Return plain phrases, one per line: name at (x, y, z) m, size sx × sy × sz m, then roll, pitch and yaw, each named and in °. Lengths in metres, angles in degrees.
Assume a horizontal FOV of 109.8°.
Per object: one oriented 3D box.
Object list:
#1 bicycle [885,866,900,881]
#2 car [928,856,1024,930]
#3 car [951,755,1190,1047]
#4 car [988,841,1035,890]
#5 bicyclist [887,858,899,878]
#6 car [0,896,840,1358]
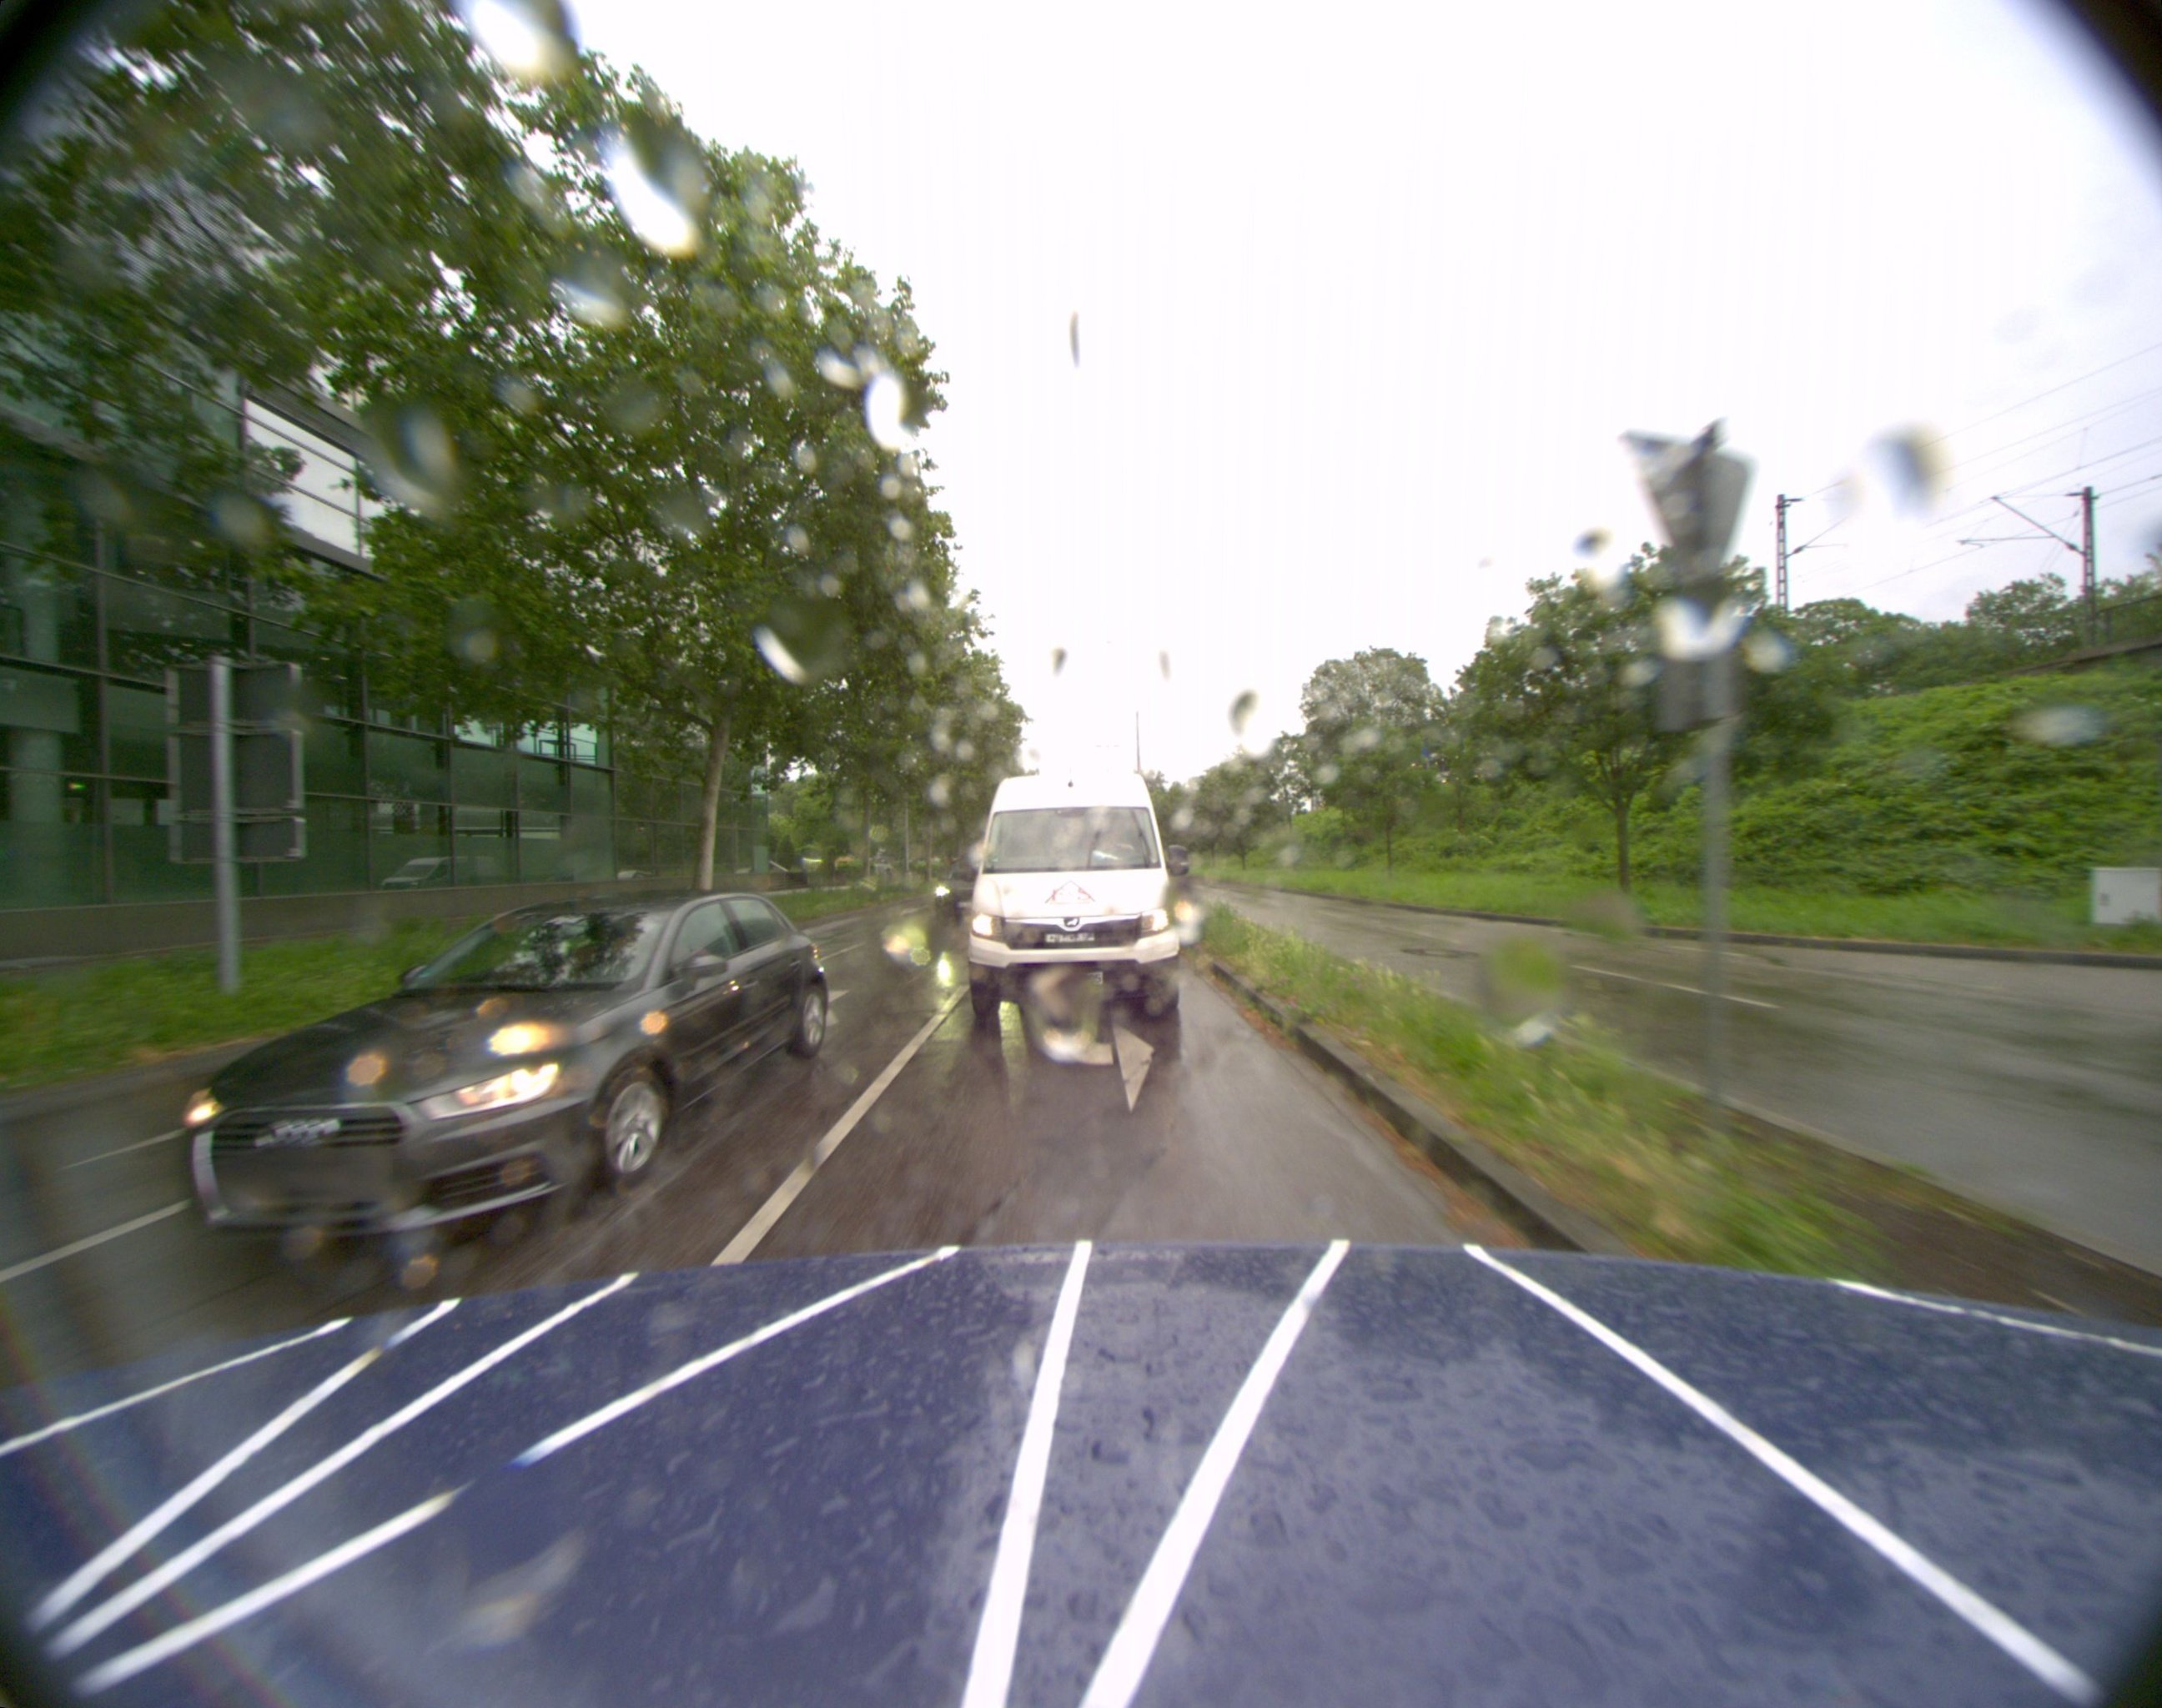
bicycle at (-14.872, 1.518, 60.068) m, size 0.745 × 1.098 × 2.076 m, roll 1°, pitch 0°, yaw -2°
car at (-2.709, 0.958, 20.558) m, size 1.999 × 1.738 × 4.327 m, roll -1°, pitch 0°, yaw 0°
car at (-0.120, 0.393, 9.379) m, size 1.969 × 2.419 × 5.960 m, roll -1°, pitch 0°, yaw -1°
car at (-3.633, 0.555, 40.306) m, size 1.999 × 2.416 × 4.977 m, roll -1°, pitch 0°, yaw 0°
bicyclist at (-14.845, 1.086, 60.047) m, size 0.807 × 1.506 × 0.752 m, roll 1°, pitch 1°, yaw -3°
car at (-3.013, 1.095, 4.641) m, size 1.841 × 1.390 × 3.753 m, roll -3°, pitch 0°, yaw 0°
